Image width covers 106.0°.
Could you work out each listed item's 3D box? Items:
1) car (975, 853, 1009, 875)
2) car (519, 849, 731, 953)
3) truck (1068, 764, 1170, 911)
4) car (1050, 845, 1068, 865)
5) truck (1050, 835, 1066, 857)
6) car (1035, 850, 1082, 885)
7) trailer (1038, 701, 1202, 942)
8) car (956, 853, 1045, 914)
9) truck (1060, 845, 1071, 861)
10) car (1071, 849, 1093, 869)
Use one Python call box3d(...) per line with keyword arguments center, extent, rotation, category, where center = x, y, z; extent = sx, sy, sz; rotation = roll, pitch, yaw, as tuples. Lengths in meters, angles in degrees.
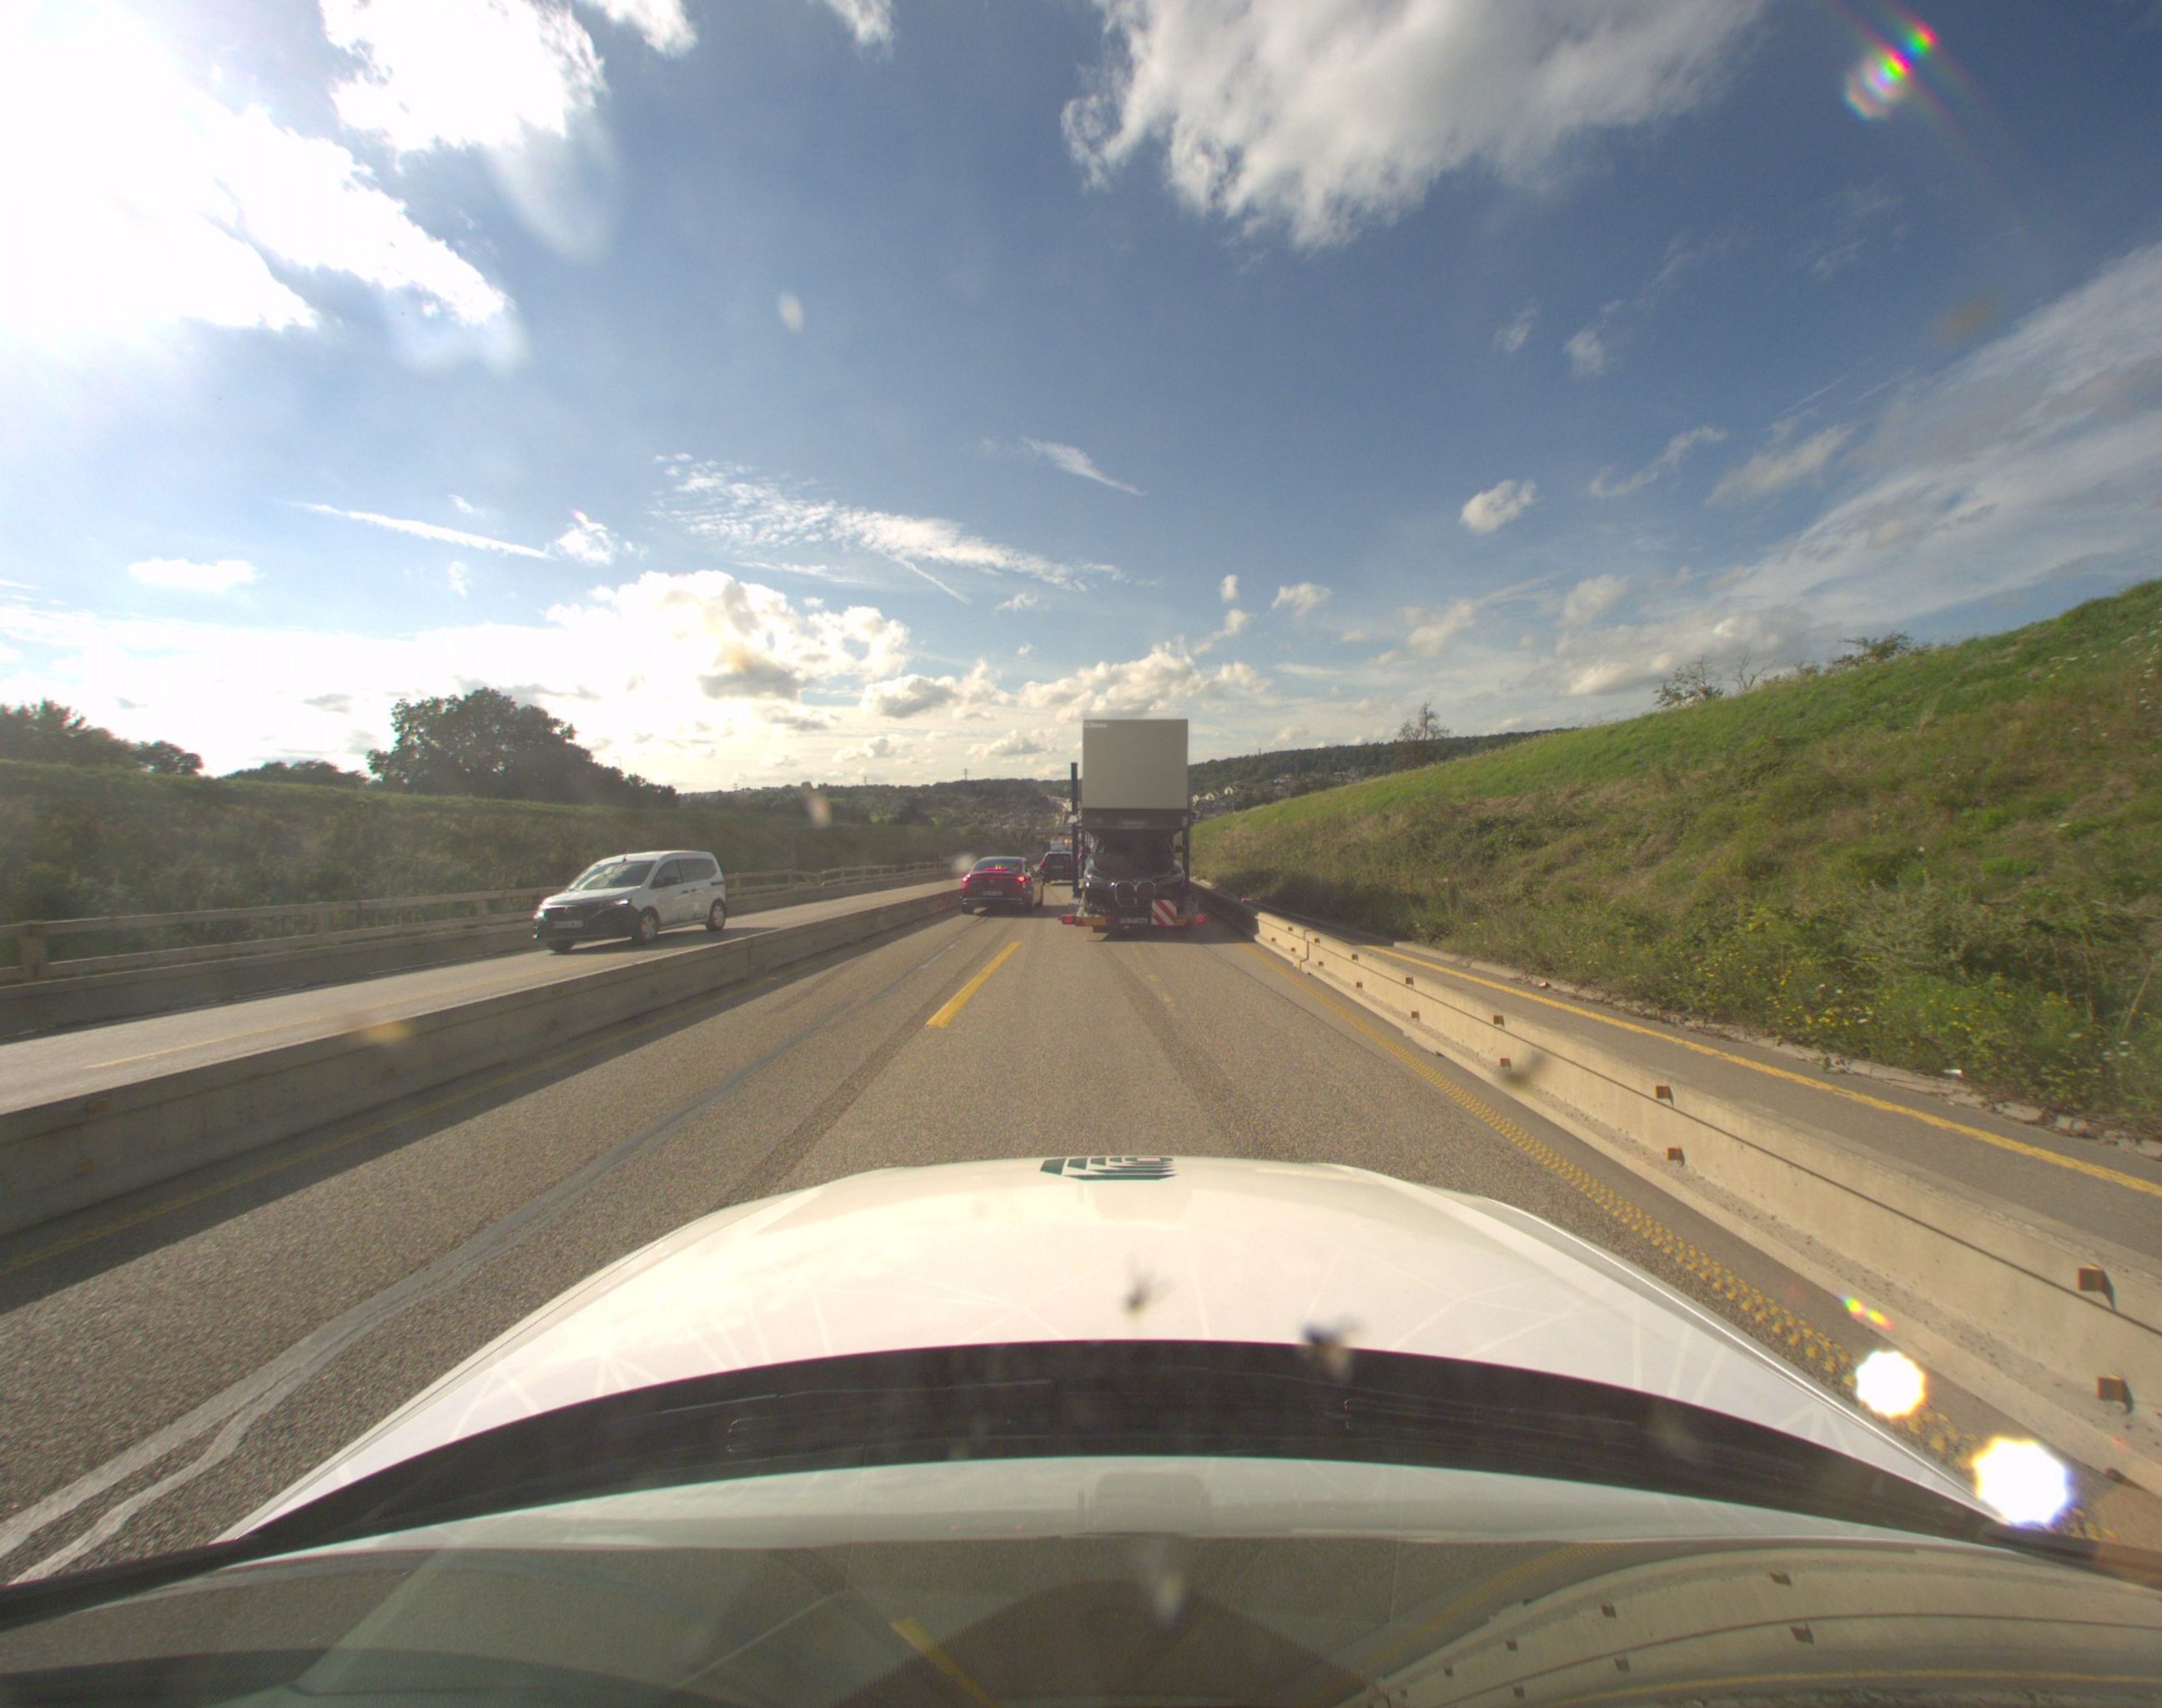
box3d(center=(-6.296, 0.701, 58.268), extent=(1.728, 1.425, 4.628), rotation=(-4, 0, 1), category="car")
box3d(center=(-8.841, 0.804, 16.295), extent=(1.728, 1.659, 4.218), rotation=(-4, 1, 0), category="car")
box3d(center=(1.164, -0.455, 25.112), extent=(2.667, 3.922, 6.031), rotation=(-1, 0, 2), category="truck")
box3d(center=(-3.235, 0.172, 121.824), extent=(2.101, 2.835, 6.142), rotation=(-4, 0, 2), category="car")
box3d(center=(-4.470, -1.494, 159.604), extent=(2.604, 4.153, 5.785), rotation=(-1, 0, 3), category="truck")
box3d(center=(-1.061, 0.633, 40.911), extent=(1.985, 1.625, 4.753), rotation=(0, 0, 3), category="car")
box3d(center=(0.933, -0.567, 19.588), extent=(2.697, 4.029, 11.427), rotation=(-1, 0, 3), category="trailer")
box3d(center=(-2.073, 0.721, 22.274), extent=(1.816, 1.492, 4.686), rotation=(0, 0, 2), category="car")
box3d(center=(-4.165, -0.185, 218.649), extent=(2.629, 4.099, 10.819), rotation=(-1, 0, 1), category="truck")
box3d(center=(0.050, 0.403, 70.897), extent=(1.791, 1.596, 4.742), rotation=(-2, 0, 0), category="car")
